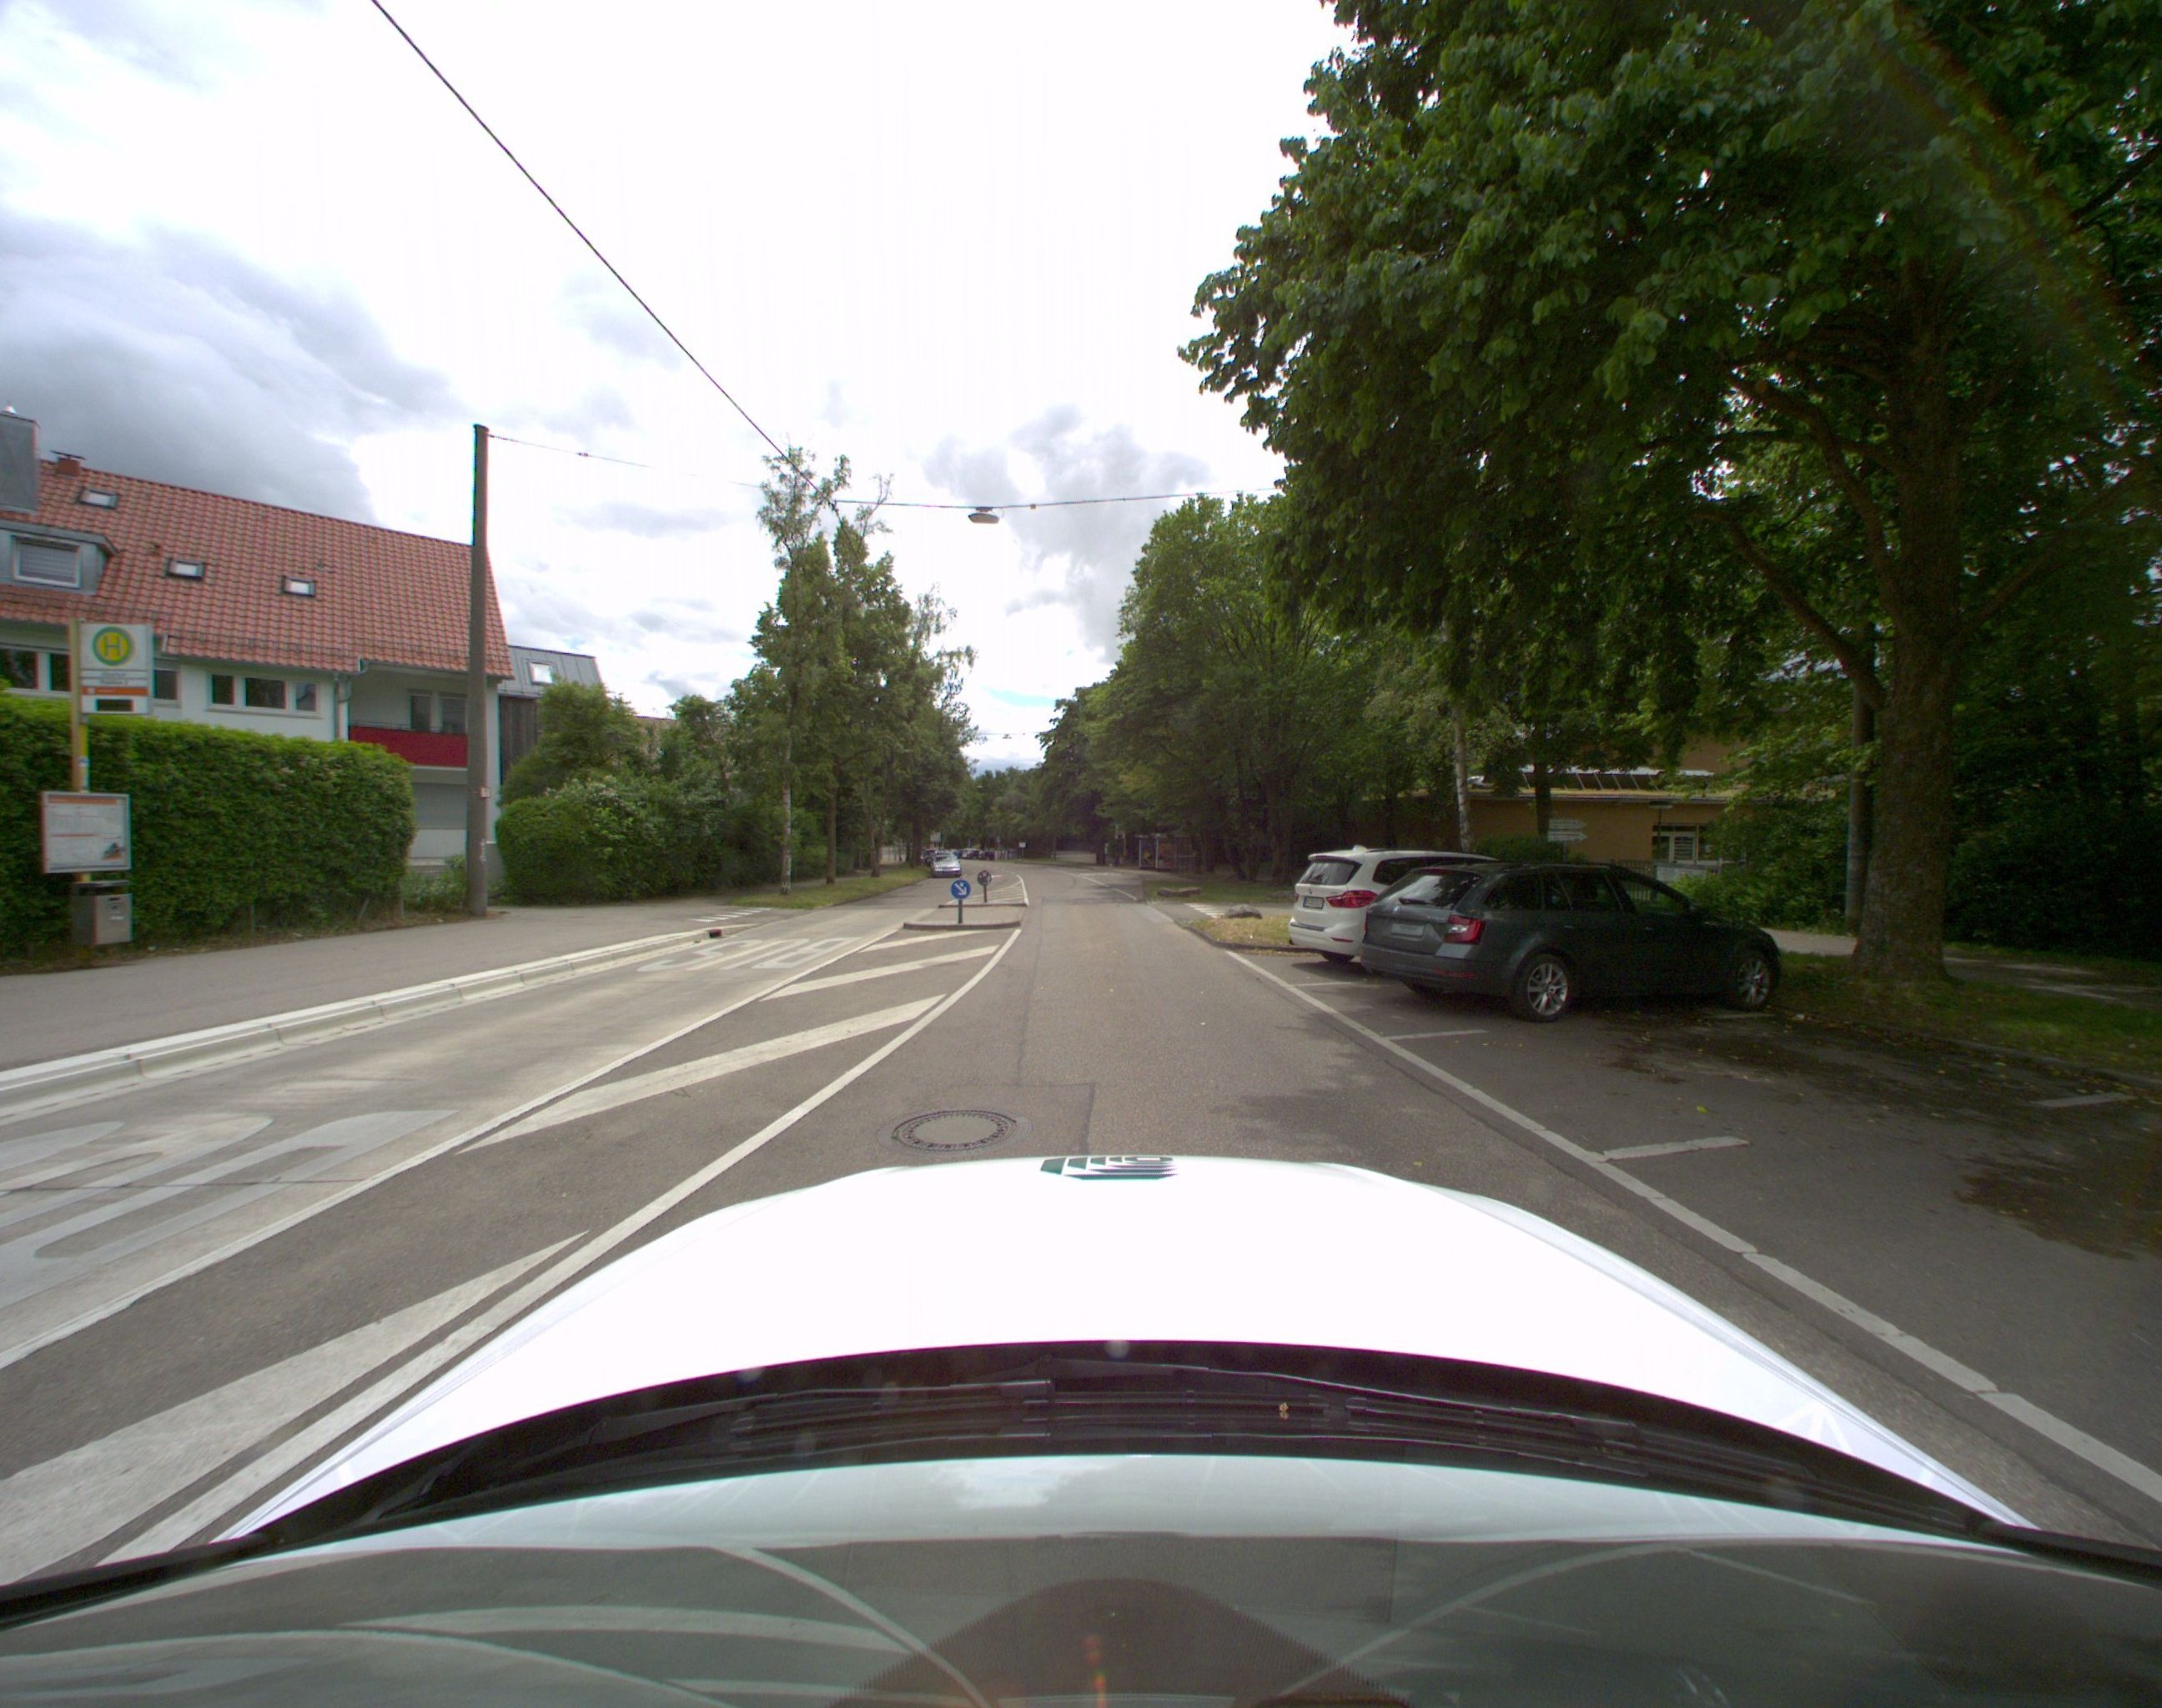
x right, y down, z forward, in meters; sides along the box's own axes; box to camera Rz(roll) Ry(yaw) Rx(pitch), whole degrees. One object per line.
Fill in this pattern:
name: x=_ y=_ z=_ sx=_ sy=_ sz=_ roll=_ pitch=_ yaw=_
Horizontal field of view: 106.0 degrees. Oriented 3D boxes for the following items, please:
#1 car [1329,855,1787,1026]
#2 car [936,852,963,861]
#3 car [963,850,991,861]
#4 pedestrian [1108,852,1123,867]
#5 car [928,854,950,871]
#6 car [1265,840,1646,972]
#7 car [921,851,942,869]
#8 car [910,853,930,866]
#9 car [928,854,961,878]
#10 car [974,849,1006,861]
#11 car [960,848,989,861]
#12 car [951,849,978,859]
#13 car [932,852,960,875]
car: x=4.880 y=0.781 z=8.443 sx=4.143 sy=1.464 sz=1.788 roll=1 pitch=0 yaw=-17
car: x=-21.770 y=0.451 z=134.848 sx=3.905 sy=1.426 sz=1.808 roll=3 pitch=-2 yaw=-41
car: x=-15.451 y=0.292 z=120.979 sx=3.851 sy=1.468 sz=1.726 roll=3 pitch=-1 yaw=-41
pedestrian: x=2.818 y=0.416 z=66.097 sx=1.065 sy=1.182 sz=0.577 roll=-1 pitch=0 yaw=-13
car: x=-13.978 y=0.832 z=80.059 sx=1.868 sy=1.538 sz=4.208 roll=-1 pitch=0 yaw=-13
car: x=4.997 y=0.670 z=11.118 sx=4.469 sy=1.585 sz=1.900 roll=1 pitch=0 yaw=-11
car: x=-16.517 y=0.687 z=89.815 sx=1.861 sy=1.909 sz=5.056 roll=-1 pitch=0 yaw=-15
car: x=-20.917 y=0.736 z=105.517 sx=1.811 sy=1.563 sz=4.239 roll=-4 pitch=1 yaw=-20
car: x=-8.620 y=0.715 z=51.324 sx=1.738 sy=1.416 sz=4.452 roll=-2 pitch=0 yaw=-13
car: x=-12.667 y=0.163 z=113.557 sx=4.020 sy=1.414 sz=2.034 roll=3 pitch=0 yaw=-41
car: x=-16.104 y=0.064 z=123.437 sx=3.851 sy=1.720 sz=1.856 roll=3 pitch=-2 yaw=-41
car: x=-18.221 y=0.002 z=127.655 sx=3.851 sy=1.528 sz=1.726 roll=3 pitch=-2 yaw=-41
car: x=-9.490 y=0.655 z=57.353 sx=1.734 sy=1.538 sz=4.179 roll=-2 pitch=0 yaw=-7
